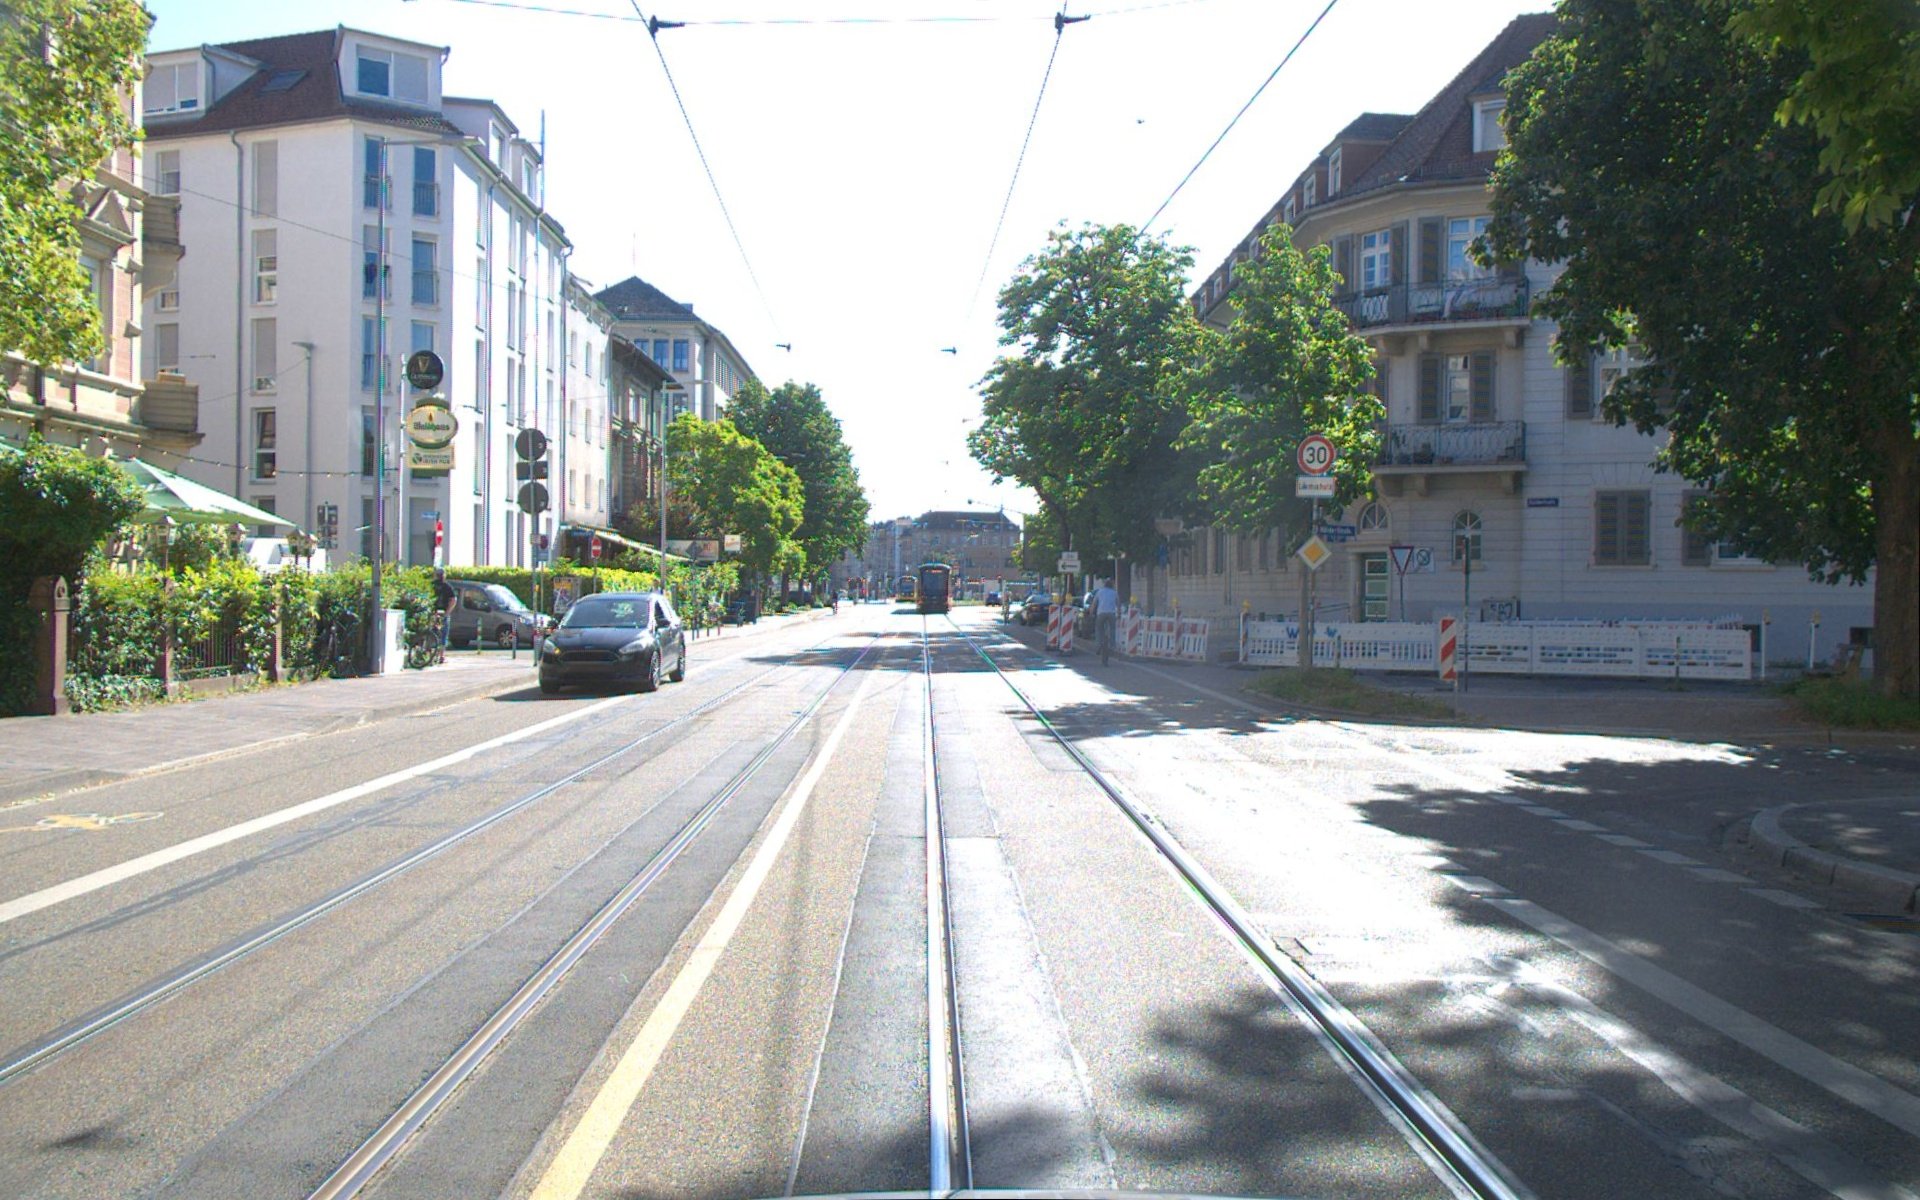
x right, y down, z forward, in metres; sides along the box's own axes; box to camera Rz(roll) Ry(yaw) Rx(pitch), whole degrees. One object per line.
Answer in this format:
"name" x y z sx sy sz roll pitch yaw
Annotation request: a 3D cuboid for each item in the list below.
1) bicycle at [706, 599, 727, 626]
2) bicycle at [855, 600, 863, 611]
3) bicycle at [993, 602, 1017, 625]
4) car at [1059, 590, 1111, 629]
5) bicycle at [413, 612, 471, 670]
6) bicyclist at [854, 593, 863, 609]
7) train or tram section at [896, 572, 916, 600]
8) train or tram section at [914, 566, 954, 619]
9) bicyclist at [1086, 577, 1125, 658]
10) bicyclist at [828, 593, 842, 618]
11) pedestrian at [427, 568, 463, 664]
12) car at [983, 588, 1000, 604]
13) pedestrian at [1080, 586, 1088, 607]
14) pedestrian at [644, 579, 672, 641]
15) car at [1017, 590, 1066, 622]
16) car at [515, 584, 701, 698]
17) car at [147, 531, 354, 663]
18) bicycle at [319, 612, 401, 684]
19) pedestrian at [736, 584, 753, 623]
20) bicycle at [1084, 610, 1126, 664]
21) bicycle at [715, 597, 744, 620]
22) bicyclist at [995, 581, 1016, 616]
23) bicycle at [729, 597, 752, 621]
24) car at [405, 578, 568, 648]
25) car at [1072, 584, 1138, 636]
"bicycle" -10.320 0.511 70.149 0.625 1.077 1.743 3 0 0
"bicycle" -10.542 0.568 172.778 0.672 1.144 1.932 -2 0 3
"bicycle" 2.274 0.692 83.506 0.690 1.124 1.718 2 1 18
"car" 4.867 0.356 64.861 1.688 1.406 4.356 -2 0 0
"bicycle" -9.389 0.732 30.041 0.516 0.998 1.777 0 0 -1
"bicyclist" -10.584 0.071 172.526 0.672 1.673 1.238 -2 0 3
"train or tram section" -7.511 -1.995 229.684 2.687 3.715 13.781 0 1 -2
"train or tram section" -2.007 -0.602 122.359 2.687 3.715 13.781 0 1 -2
"bicyclist" 3.169 0.371 36.112 0.723 1.715 0.972 2 0 1
"bicyclist" -8.432 0.352 111.668 0.730 1.627 1.118 -3 0 0
"pedestrian" -9.788 0.296 31.452 0.546 1.813 0.538 0 0 -5
"car" 3.487 -0.429 182.074 1.751 1.632 3.714 1 1 3
"pedestrian" 8.376 -0.232 111.926 0.507 1.429 0.765 0 0 2
"pedestrian" -8.837 0.285 48.461 0.677 1.799 0.866 0 0 -1
"car" 3.977 0.270 81.343 1.786 1.484 4.814 -2 0 -5
"car" -5.499 0.579 26.455 1.826 1.604 4.590 -2 0 2
"car" -16.461 -0.028 38.694 1.846 2.891 4.786 0 -1 15
"bicycle" -9.459 0.740 26.151 0.503 1.056 2.222 0 0 -1
"pedestrian" -10.509 0.173 80.698 0.563 1.863 0.690 0 0 18
"bicycle" 3.161 0.790 36.126 0.723 1.113 2.111 2 0 1
"bicycle" -11.271 0.409 80.903 0.623 1.064 2.023 0 0 15
"bicyclist" 2.298 -0.089 83.500 0.690 1.704 1.102 2 1 18
"bicycle" -10.952 0.433 82.561 0.632 1.163 1.906 2 0 7
"car" -12.843 0.361 44.934 3.957 1.839 1.792 0 -1 20
"car" 4.958 0.303 57.079 1.774 1.654 4.583 -2 0 -1
